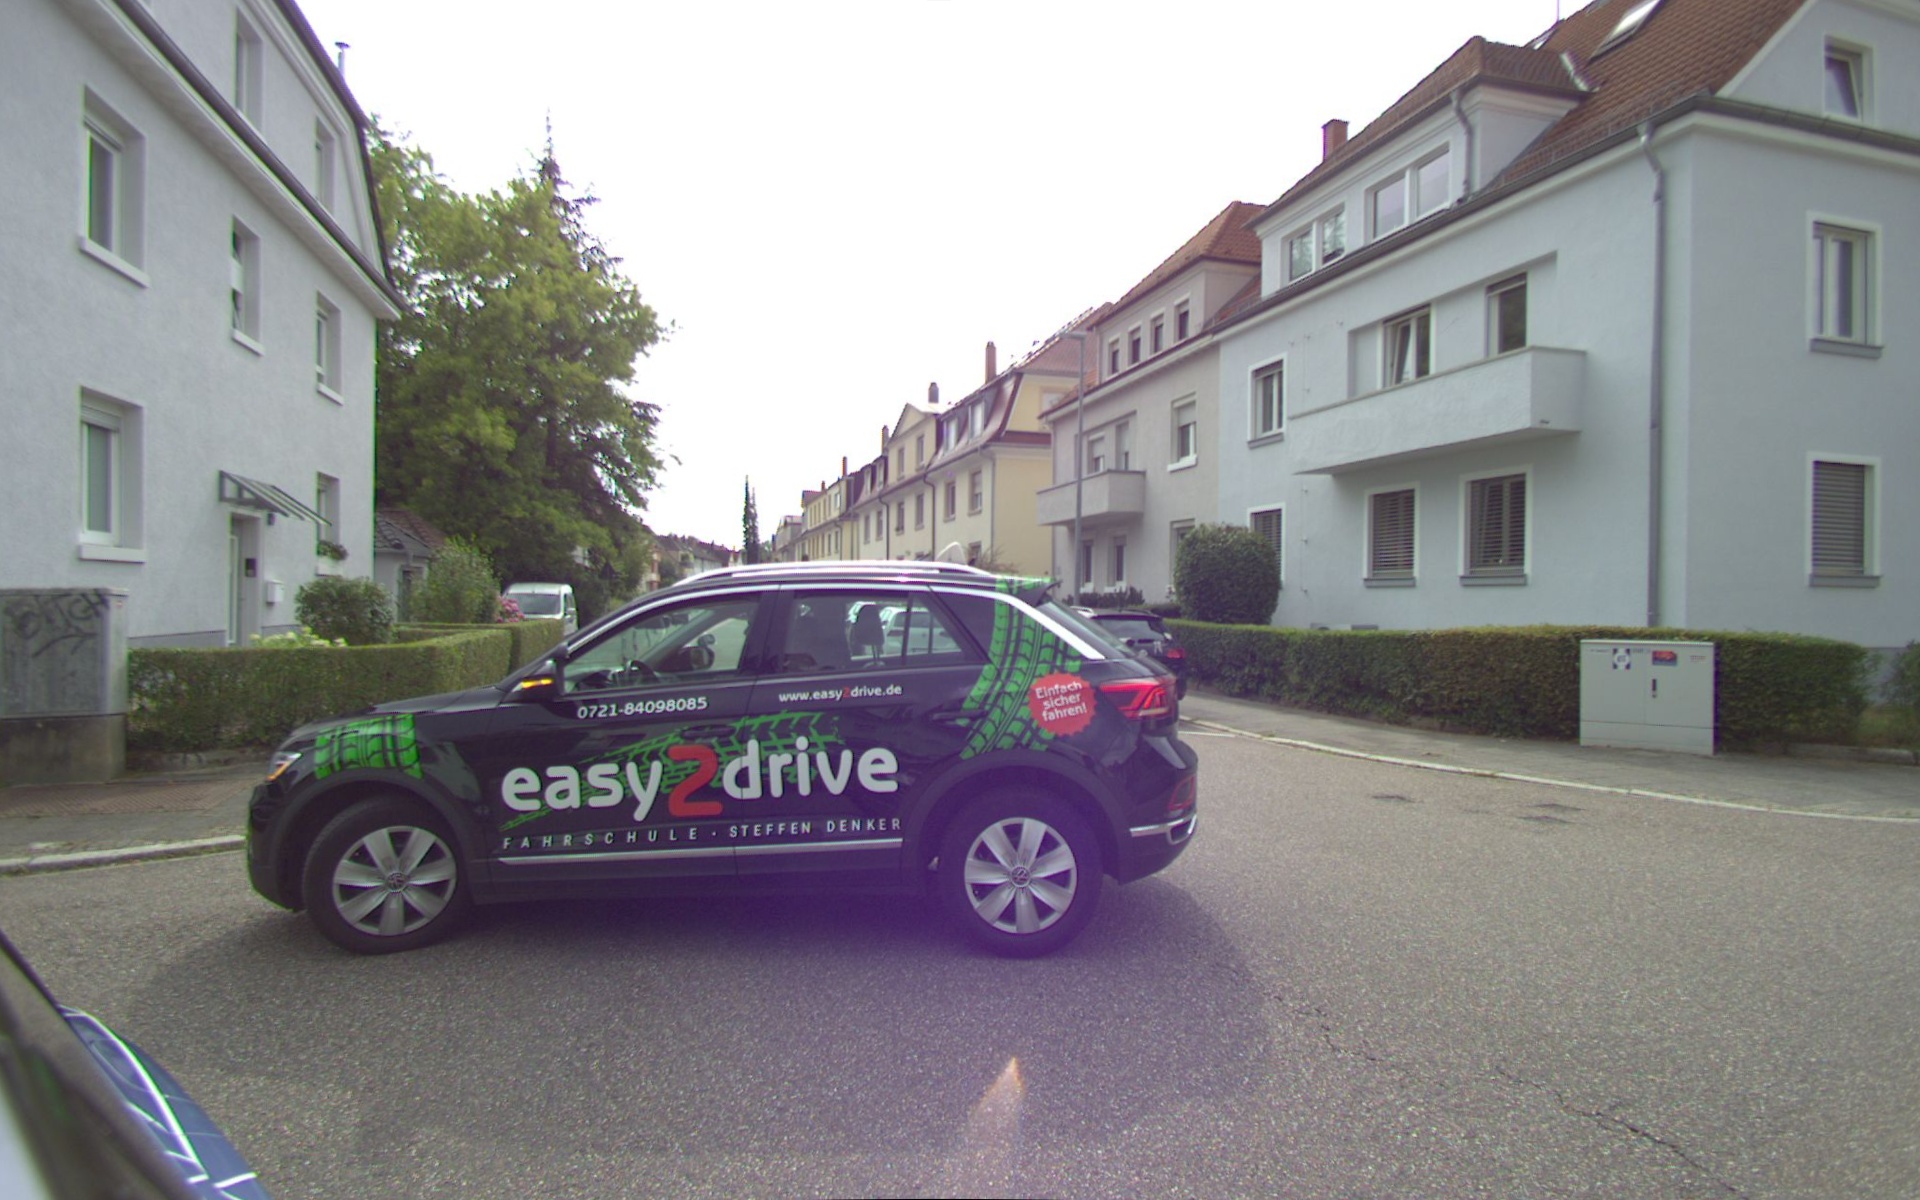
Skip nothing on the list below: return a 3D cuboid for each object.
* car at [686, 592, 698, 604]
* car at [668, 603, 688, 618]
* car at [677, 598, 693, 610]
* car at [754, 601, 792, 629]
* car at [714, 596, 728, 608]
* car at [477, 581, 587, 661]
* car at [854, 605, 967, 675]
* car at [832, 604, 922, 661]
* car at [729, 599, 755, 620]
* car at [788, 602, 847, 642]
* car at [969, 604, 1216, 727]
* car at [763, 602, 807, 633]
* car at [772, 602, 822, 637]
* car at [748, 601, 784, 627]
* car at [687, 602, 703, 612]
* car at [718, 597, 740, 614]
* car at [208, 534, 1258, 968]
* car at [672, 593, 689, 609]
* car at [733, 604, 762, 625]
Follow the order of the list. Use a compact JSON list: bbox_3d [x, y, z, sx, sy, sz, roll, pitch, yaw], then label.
[{"bbox_3d":[-49.307,-0.290,186.480,1.967,2.139,4.010,1,0,-12],"label":"car"},{"bbox_3d":[-32.183,1.133,115.417,1.967,1.652,4.010,1,0,-12],"label":"car"},{"bbox_3d":[-39.134,0.585,143.897,1.967,1.652,4.010,1,0,-12],"label":"car"},{"bbox_3d":[-10.588,0.822,57.090,1.828,1.482,4.187,1,0,-15],"label":"car"},{"bbox_3d":[-32.311,0.301,136.808,1.828,1.590,4.187,1,0,-15],"label":"car"},{"bbox_3d":[-10.622,0.492,25.395,1.966,1.852,4.011,1,0,-14],"label":"car"},{"bbox_3d":[-1.268,0.872,23.991,1.828,1.482,4.187,1,0,-15],"label":"car"},{"bbox_3d":[-2.434,0.863,28.665,1.828,1.482,4.187,1,0,-15],"label":"car"},{"bbox_3d":[-16.894,0.742,78.287,1.828,1.590,4.187,1,0,-15],"label":"car"},{"bbox_3d":[-5.707,0.847,40.084,1.828,1.482,4.187,1,0,-15],"label":"car"},{"bbox_3d":[1.701,0.807,14.575,1.828,1.482,4.188,1,0,-19],"label":"car"},{"bbox_3d":[-8.817,0.832,50.720,1.828,1.482,4.187,1,0,-15],"label":"car"},{"bbox_3d":[-7.322,0.842,45.210,1.828,1.482,4.187,1,0,-15],"label":"car"},{"bbox_3d":[-11.768,0.816,61.305,1.828,1.482,4.187,1,0,-15],"label":"car"},{"bbox_3d":[-41.228,1.069,157.541,1.969,1.548,4.007,-1,0,-7],"label":"car"},{"bbox_3d":[-22.179,0.503,96.959,1.828,1.590,4.187,1,0,-16],"label":"car"},{"bbox_3d":[-0.879,0.583,4.677,3.992,1.531,1.819,-1,-1,5],"label":"car"},{"bbox_3d":[-35.208,0.157,127.588,1.966,2.029,4.011,1,0,-14],"label":"car"},{"bbox_3d":[-15.411,1.016,73.365,1.828,1.482,4.187,1,0,-15],"label":"car"}]
